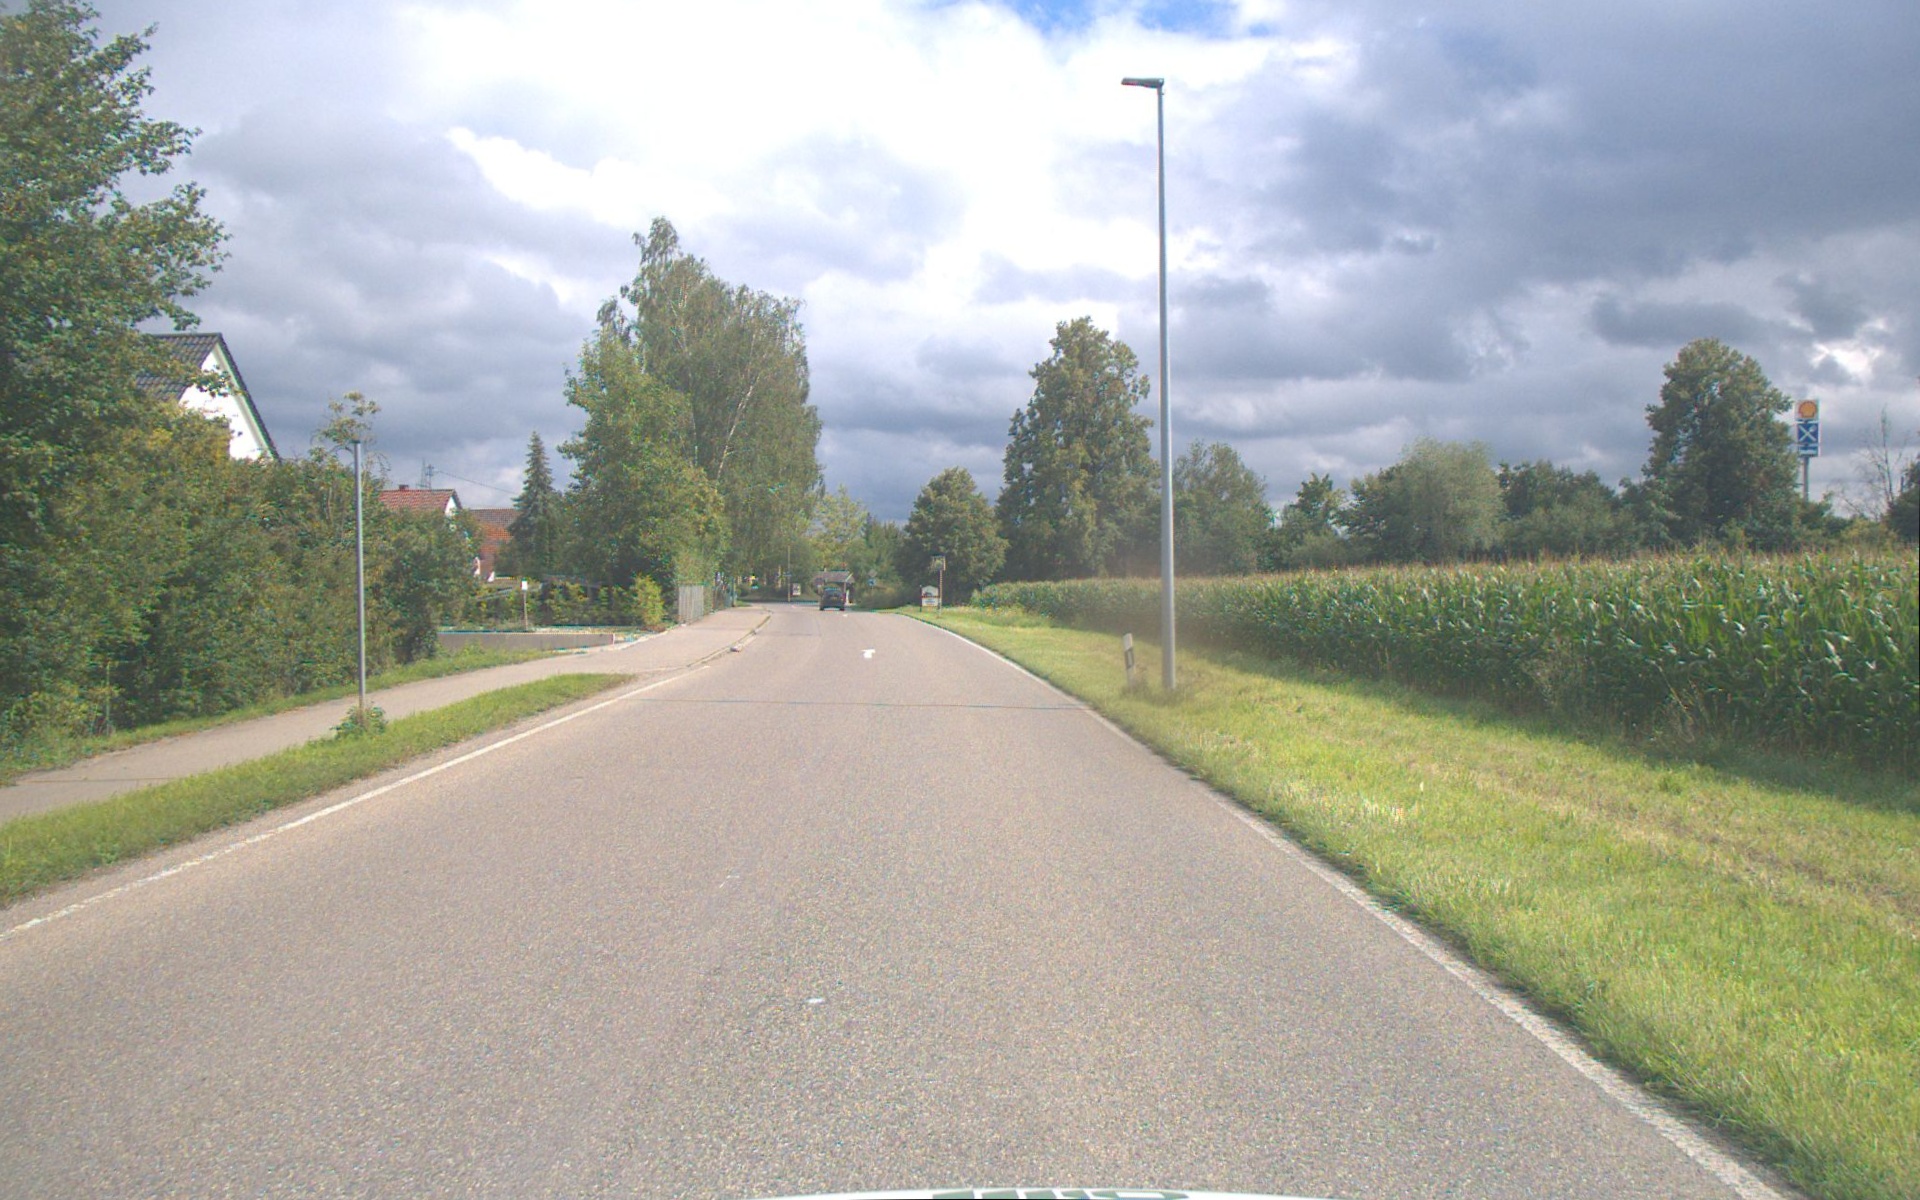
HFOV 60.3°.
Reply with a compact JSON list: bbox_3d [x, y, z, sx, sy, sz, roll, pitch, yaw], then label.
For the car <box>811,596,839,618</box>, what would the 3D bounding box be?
[{"bbox_3d":[-10.558,0.518,129.018,1.955,1.613,3.994,2,0,-7],"label":"car"}]
